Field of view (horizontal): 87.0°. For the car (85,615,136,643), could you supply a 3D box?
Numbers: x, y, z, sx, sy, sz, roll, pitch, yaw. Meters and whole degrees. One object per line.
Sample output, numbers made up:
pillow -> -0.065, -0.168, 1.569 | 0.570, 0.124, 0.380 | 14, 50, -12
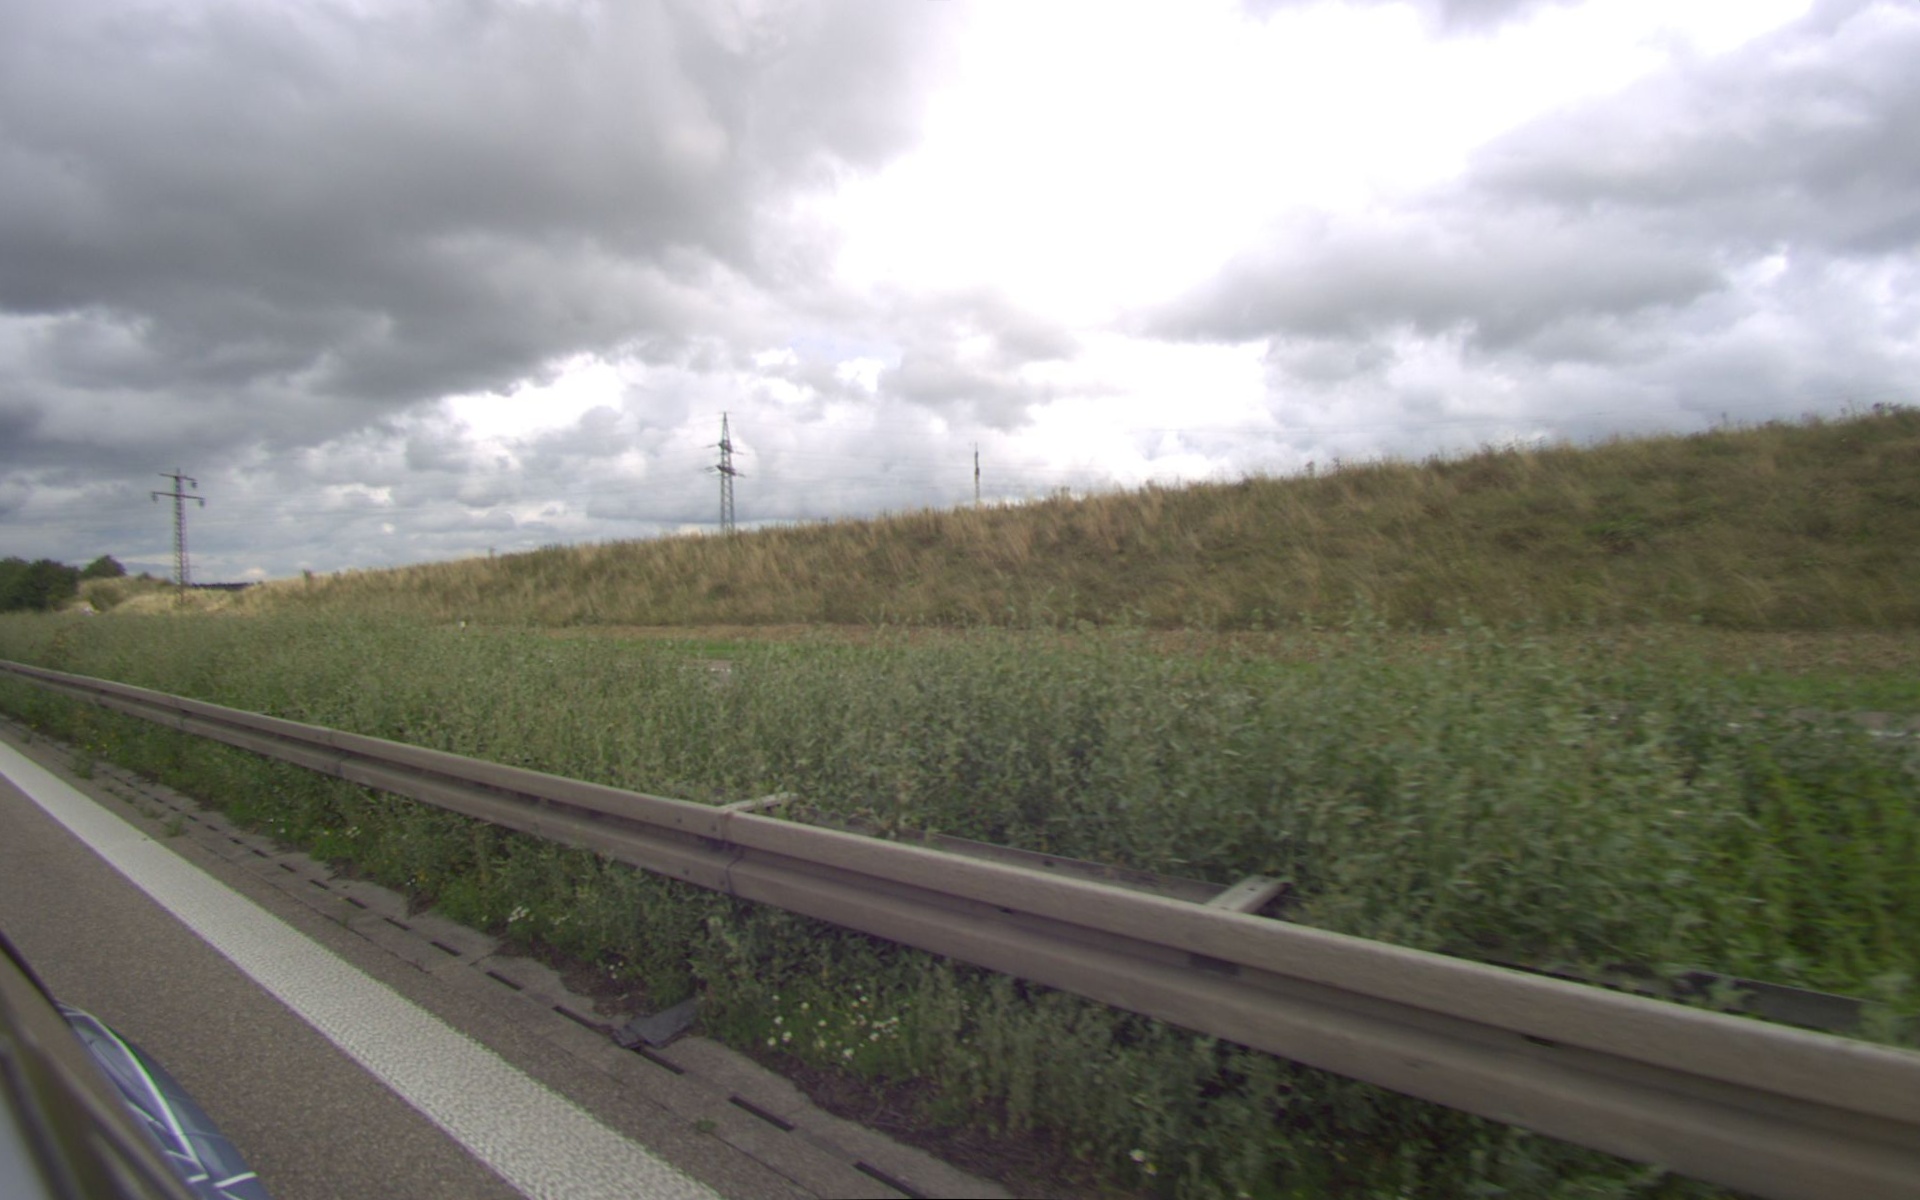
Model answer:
car -> -49.746, 1.663, 59.229 | 3.999, 1.567, 1.714 | -1, 0, 42
